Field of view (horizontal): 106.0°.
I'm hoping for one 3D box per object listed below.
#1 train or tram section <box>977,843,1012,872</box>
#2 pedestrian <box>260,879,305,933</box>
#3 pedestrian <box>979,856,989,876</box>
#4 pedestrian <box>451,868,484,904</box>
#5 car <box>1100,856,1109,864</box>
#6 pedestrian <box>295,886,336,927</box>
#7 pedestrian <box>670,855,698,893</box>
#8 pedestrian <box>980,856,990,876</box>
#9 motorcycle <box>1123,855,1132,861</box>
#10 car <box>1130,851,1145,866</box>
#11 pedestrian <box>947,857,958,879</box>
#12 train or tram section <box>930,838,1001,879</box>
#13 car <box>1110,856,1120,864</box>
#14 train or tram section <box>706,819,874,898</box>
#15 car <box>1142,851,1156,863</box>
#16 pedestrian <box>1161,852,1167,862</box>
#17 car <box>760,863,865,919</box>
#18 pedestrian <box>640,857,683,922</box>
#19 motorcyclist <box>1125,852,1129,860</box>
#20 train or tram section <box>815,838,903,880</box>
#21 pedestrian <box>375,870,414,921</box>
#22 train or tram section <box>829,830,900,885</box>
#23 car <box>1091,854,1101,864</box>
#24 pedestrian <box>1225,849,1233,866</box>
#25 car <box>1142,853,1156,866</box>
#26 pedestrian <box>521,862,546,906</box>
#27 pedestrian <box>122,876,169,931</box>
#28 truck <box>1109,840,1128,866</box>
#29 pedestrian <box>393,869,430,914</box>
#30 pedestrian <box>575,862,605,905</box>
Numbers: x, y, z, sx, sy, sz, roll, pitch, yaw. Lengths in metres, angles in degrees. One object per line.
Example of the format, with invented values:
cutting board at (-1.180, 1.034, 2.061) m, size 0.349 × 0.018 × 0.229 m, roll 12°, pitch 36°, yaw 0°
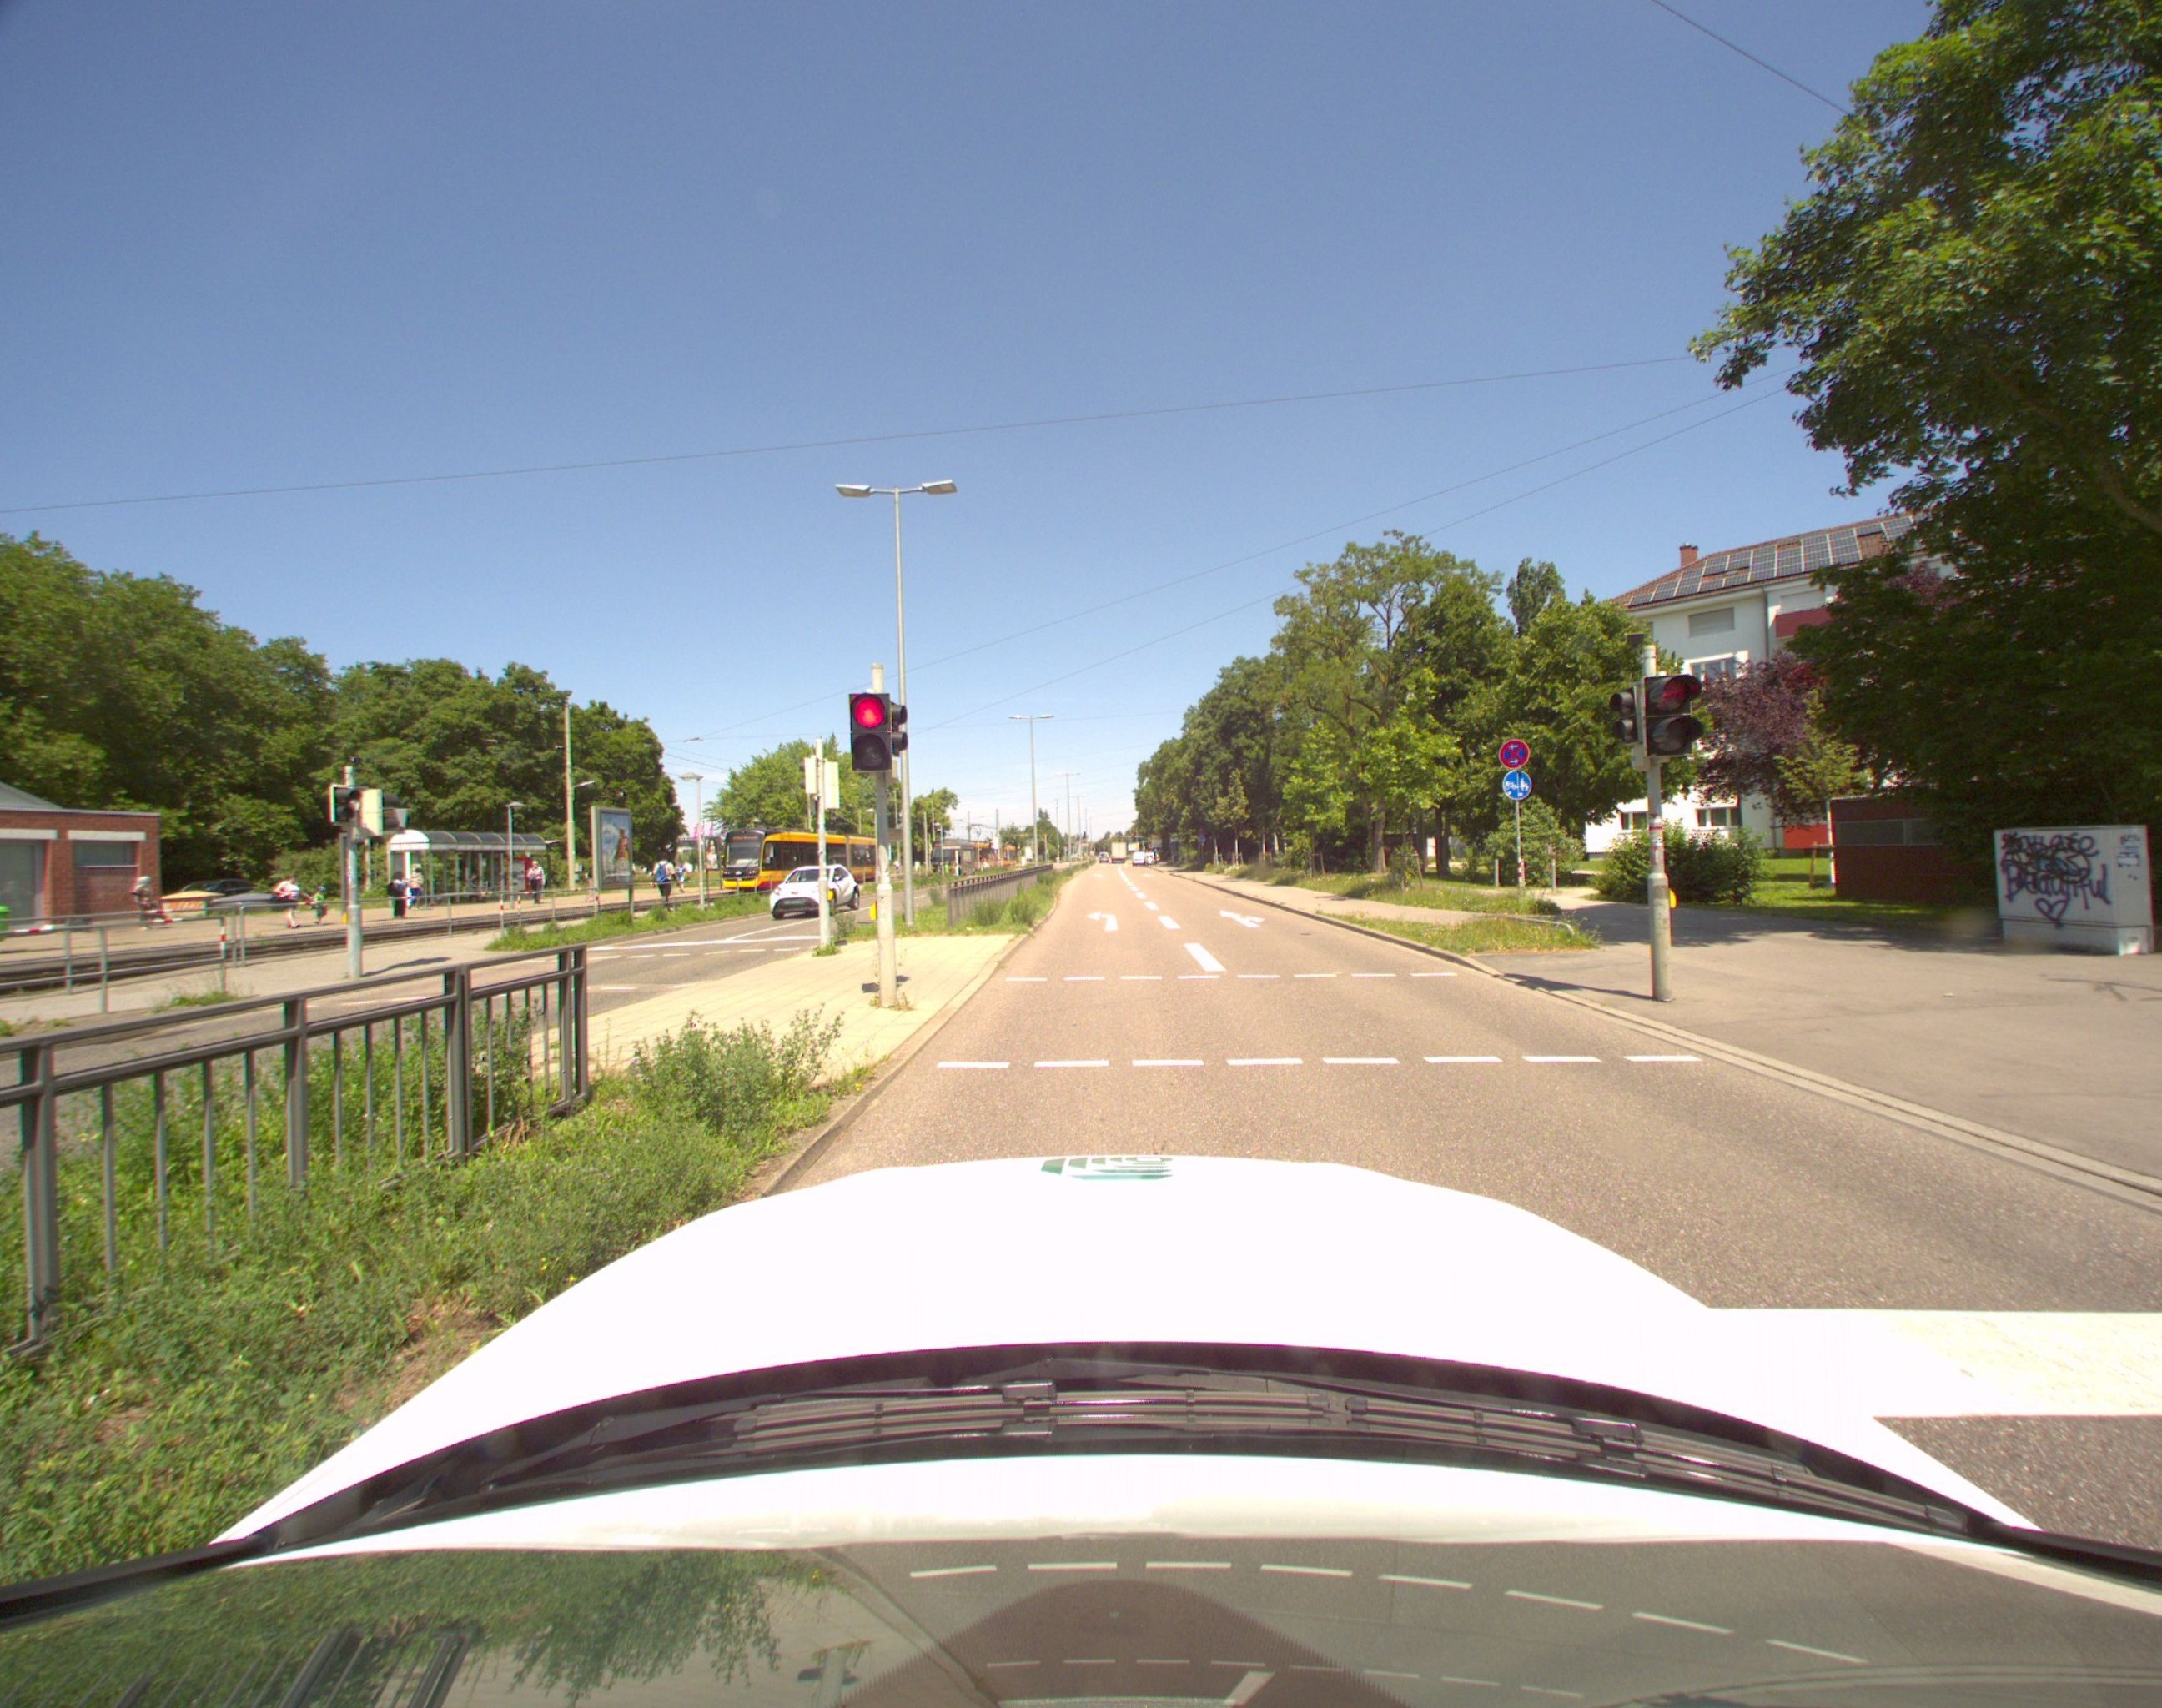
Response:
train or tram section at (-12.721, 0.474, 122.908) m, size 2.923 × 3.789 × 33.058 m, roll -2°, pitch 0°, yaw -2°
pedestrian at (-22.312, 1.449, 22.771) m, size 0.636 × 1.456 × 0.583 m, roll -2°, pitch 0°, yaw 1°
pedestrian at (-10.135, 1.254, 85.367) m, size 0.812 × 2.013 × 0.939 m, roll -2°, pitch 0°, yaw 1°
pedestrian at (-26.284, 1.375, 34.896) m, size 0.836 × 1.511 × 0.723 m, roll -2°, pitch 0°, yaw 12°
car at (4.550, 1.174, 158.007) m, size 1.804 × 1.464 × 4.002 m, roll -2°, pitch 0°, yaw 2°
pedestrian at (-22.286, 1.516, 23.720) m, size 0.636 × 1.124 × 0.570 m, roll -2°, pitch 0°, yaw 1°
pedestrian at (-21.672, 1.073, 44.495) m, size 0.977 × 2.013 × 1.021 m, roll -2°, pitch 0°, yaw 1°
pedestrian at (-9.915, 1.242, 84.067) m, size 0.812 × 2.013 × 0.939 m, roll -2°, pitch 0°, yaw 1°
motorcycle at (11.507, 1.053, 202.192) m, size 2.183 × 1.406 × 0.845 m, roll -2°, pitch 0°, yaw -10°
car at (7.292, 0.564, 105.541) m, size 1.773 × 1.903 × 4.002 m, roll -2°, pitch 0°, yaw 2°
pedestrian at (-10.983, 1.203, 69.730) m, size 0.783 × 1.868 × 0.818 m, roll -2°, pitch 0°, yaw 1°
train or tram section at (-12.333, 0.458, 91.561) m, size 2.947 × 3.749 × 30.039 m, roll -2°, pitch 0°, yaw 1°
car at (6.478, 1.147, 153.690) m, size 1.804 × 1.464 × 4.002 m, roll -2°, pitch 0°, yaw 2°
train or tram section at (-17.070, 0.232, 50.462) m, size 3.204 × 3.931 × 18.506 m, roll -2°, pitch 0°, yaw 2°
car at (9.901, 0.462, 118.764) m, size 1.773 × 1.668 × 4.002 m, roll -2°, pitch 0°, yaw 2°
pedestrian at (16.605, 0.537, 163.232) m, size 1.180 × 2.013 × 1.214 m, roll -2°, pitch 0°, yaw 1°
car at (-8.115, 1.083, 24.996) m, size 1.838 × 1.494 × 3.793 m, roll -2°, pitch 0°, yaw 2°
pedestrian at (-12.028, 0.997, 23.363) m, size 0.715 × 1.777 × 0.843 m, roll 3°, pitch 2°, yaw 1°
motorcyclist at (11.457, 0.541, 202.205) m, size 0.924 × 1.835 × 0.847 m, roll -2°, pitch 0°, yaw -10°
train or tram section at (-23.422, 0.624, 84.532) m, size 3.239 × 3.931 × 18.306 m, roll -1°, pitch 0°, yaw -33°
pedestrian at (-21.586, 1.287, 25.616) m, size 0.635 × 1.555 × 0.691 m, roll -2°, pitch 0°, yaw -11°
train or tram section at (-17.818, 0.305, 68.547) m, size 3.213 × 3.931 × 18.453 m, roll -2°, pitch 0°, yaw -7°
car at (3.316, 1.099, 175.333) m, size 1.986 × 2.013 × 4.002 m, roll -2°, pitch 0°, yaw 2°
pedestrian at (12.624, 0.320, 69.396) m, size 0.600 × 1.438 × 0.557 m, roll -2°, pitch 0°, yaw 8°
car at (9.380, 0.721, 112.423) m, size 1.773 × 1.668 × 4.002 m, roll -2°, pitch 0°, yaw 2°
pedestrian at (-23.144, 1.263, 34.420) m, size 0.725 × 1.800 × 0.835 m, roll -1°, pitch -1°, yaw -41°
pedestrian at (-25.908, 1.368, 22.559) m, size 0.636 × 1.480 × 0.570 m, roll -2°, pitch 0°, yaw 1°
truck at (6.764, -0.167, 146.139) m, size 3.193 × 4.359 × 6.563 m, roll -2°, pitch 0°, yaw 2°
pedestrian at (-24.858, 1.384, 30.245) m, size 0.669 × 1.590 × 0.808 m, roll -2°, pitch 0°, yaw 1°
pedestrian at (-21.217, 1.253, 35.184) m, size 0.715 × 1.777 × 0.843 m, roll 3°, pitch 2°, yaw 1°
